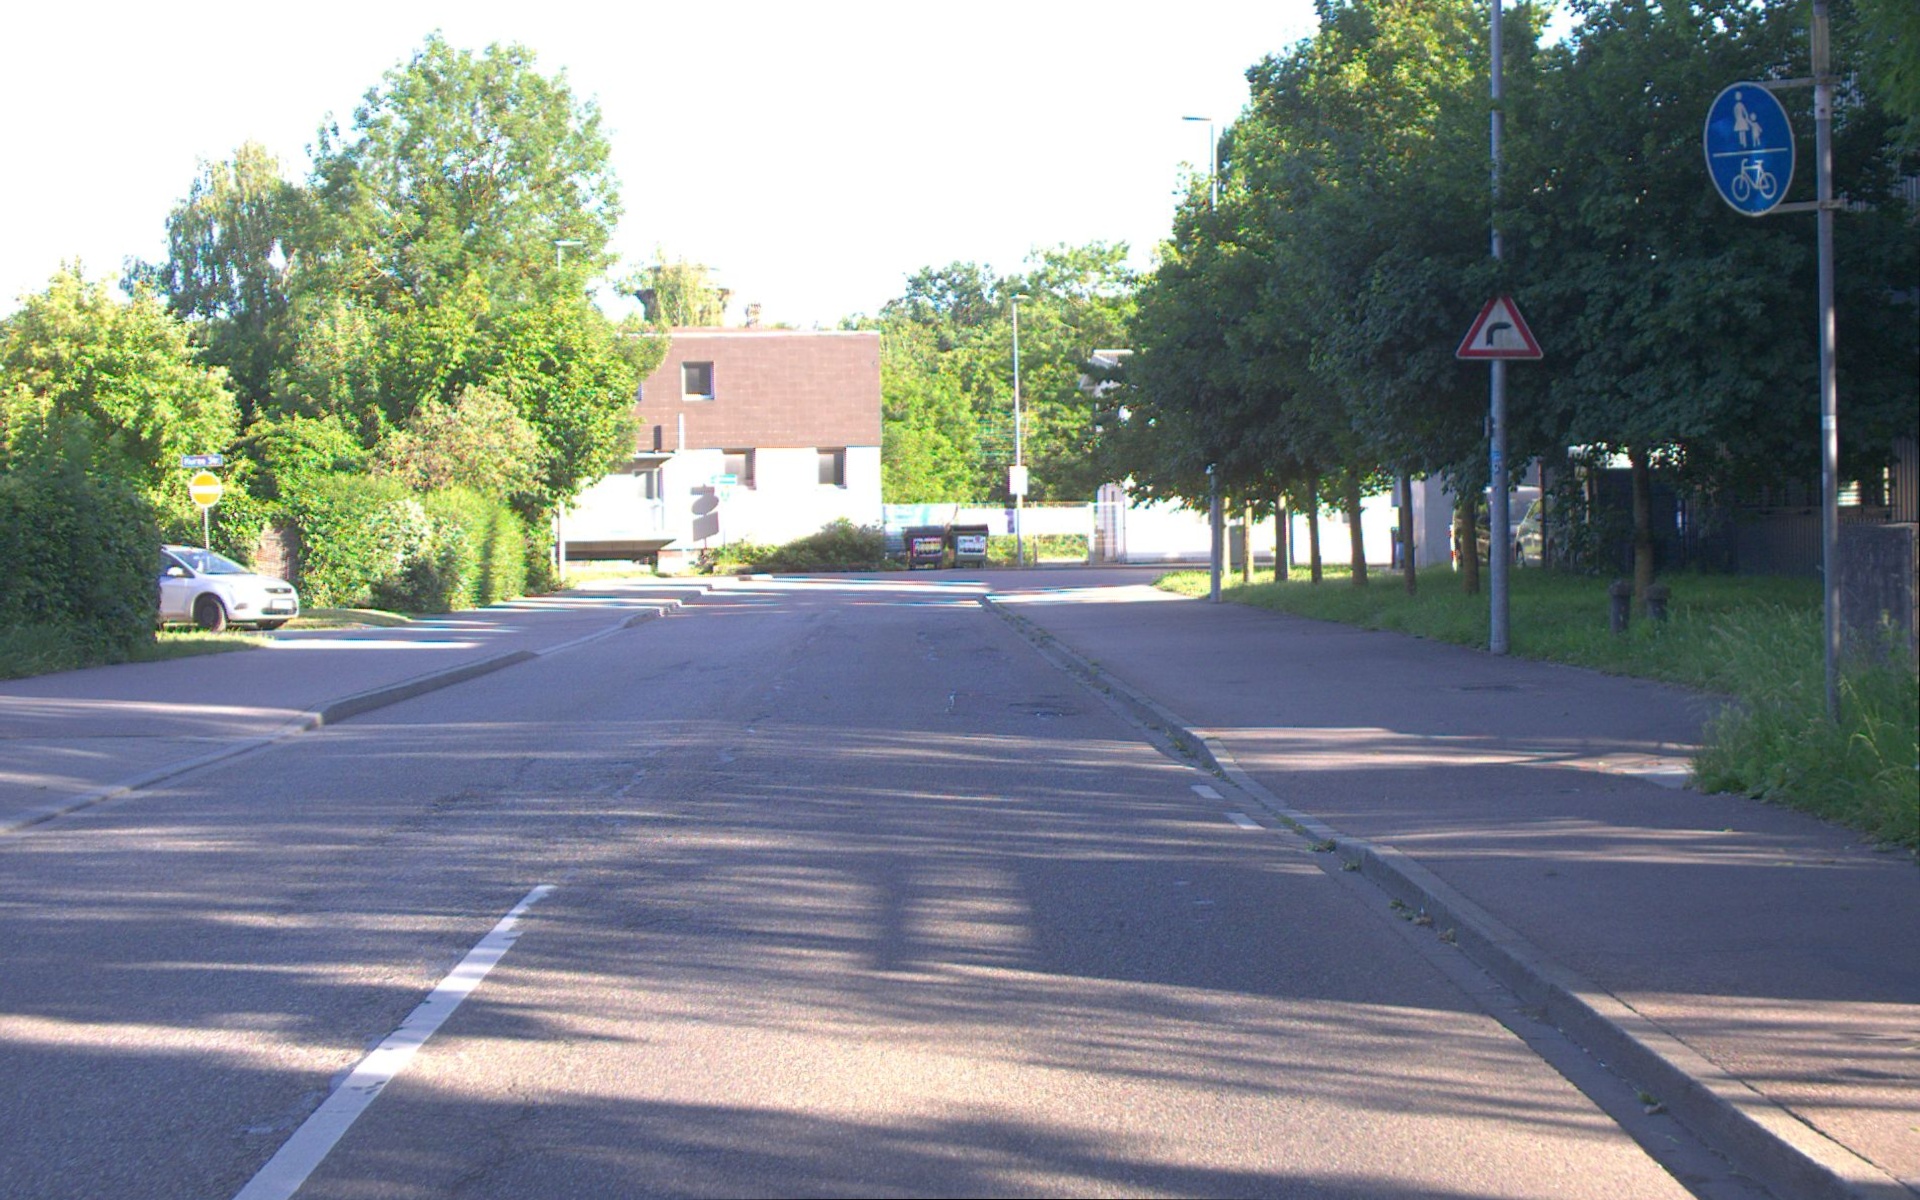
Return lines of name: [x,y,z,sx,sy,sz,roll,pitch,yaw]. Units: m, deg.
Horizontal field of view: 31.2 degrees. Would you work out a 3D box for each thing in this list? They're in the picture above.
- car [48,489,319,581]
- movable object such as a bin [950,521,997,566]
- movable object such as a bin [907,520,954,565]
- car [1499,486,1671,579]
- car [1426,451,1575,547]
car: [-13.142,-1.104,58.154,4.216,1.485,1.874,1,0,26]
movable object such as a bin: [0.429,-1.812,109.913,1.364,1.413,1.066,1,0,-8]
movable object such as a bin: [-0.949,-1.834,109.684,1.364,1.413,1.066,1,0,-8]
car: [10.335,-1.102,57.161,1.835,1.461,4.279,1,0,-3]
car: [10.910,-2.011,69.728,1.835,1.808,4.667,1,0,-6]
